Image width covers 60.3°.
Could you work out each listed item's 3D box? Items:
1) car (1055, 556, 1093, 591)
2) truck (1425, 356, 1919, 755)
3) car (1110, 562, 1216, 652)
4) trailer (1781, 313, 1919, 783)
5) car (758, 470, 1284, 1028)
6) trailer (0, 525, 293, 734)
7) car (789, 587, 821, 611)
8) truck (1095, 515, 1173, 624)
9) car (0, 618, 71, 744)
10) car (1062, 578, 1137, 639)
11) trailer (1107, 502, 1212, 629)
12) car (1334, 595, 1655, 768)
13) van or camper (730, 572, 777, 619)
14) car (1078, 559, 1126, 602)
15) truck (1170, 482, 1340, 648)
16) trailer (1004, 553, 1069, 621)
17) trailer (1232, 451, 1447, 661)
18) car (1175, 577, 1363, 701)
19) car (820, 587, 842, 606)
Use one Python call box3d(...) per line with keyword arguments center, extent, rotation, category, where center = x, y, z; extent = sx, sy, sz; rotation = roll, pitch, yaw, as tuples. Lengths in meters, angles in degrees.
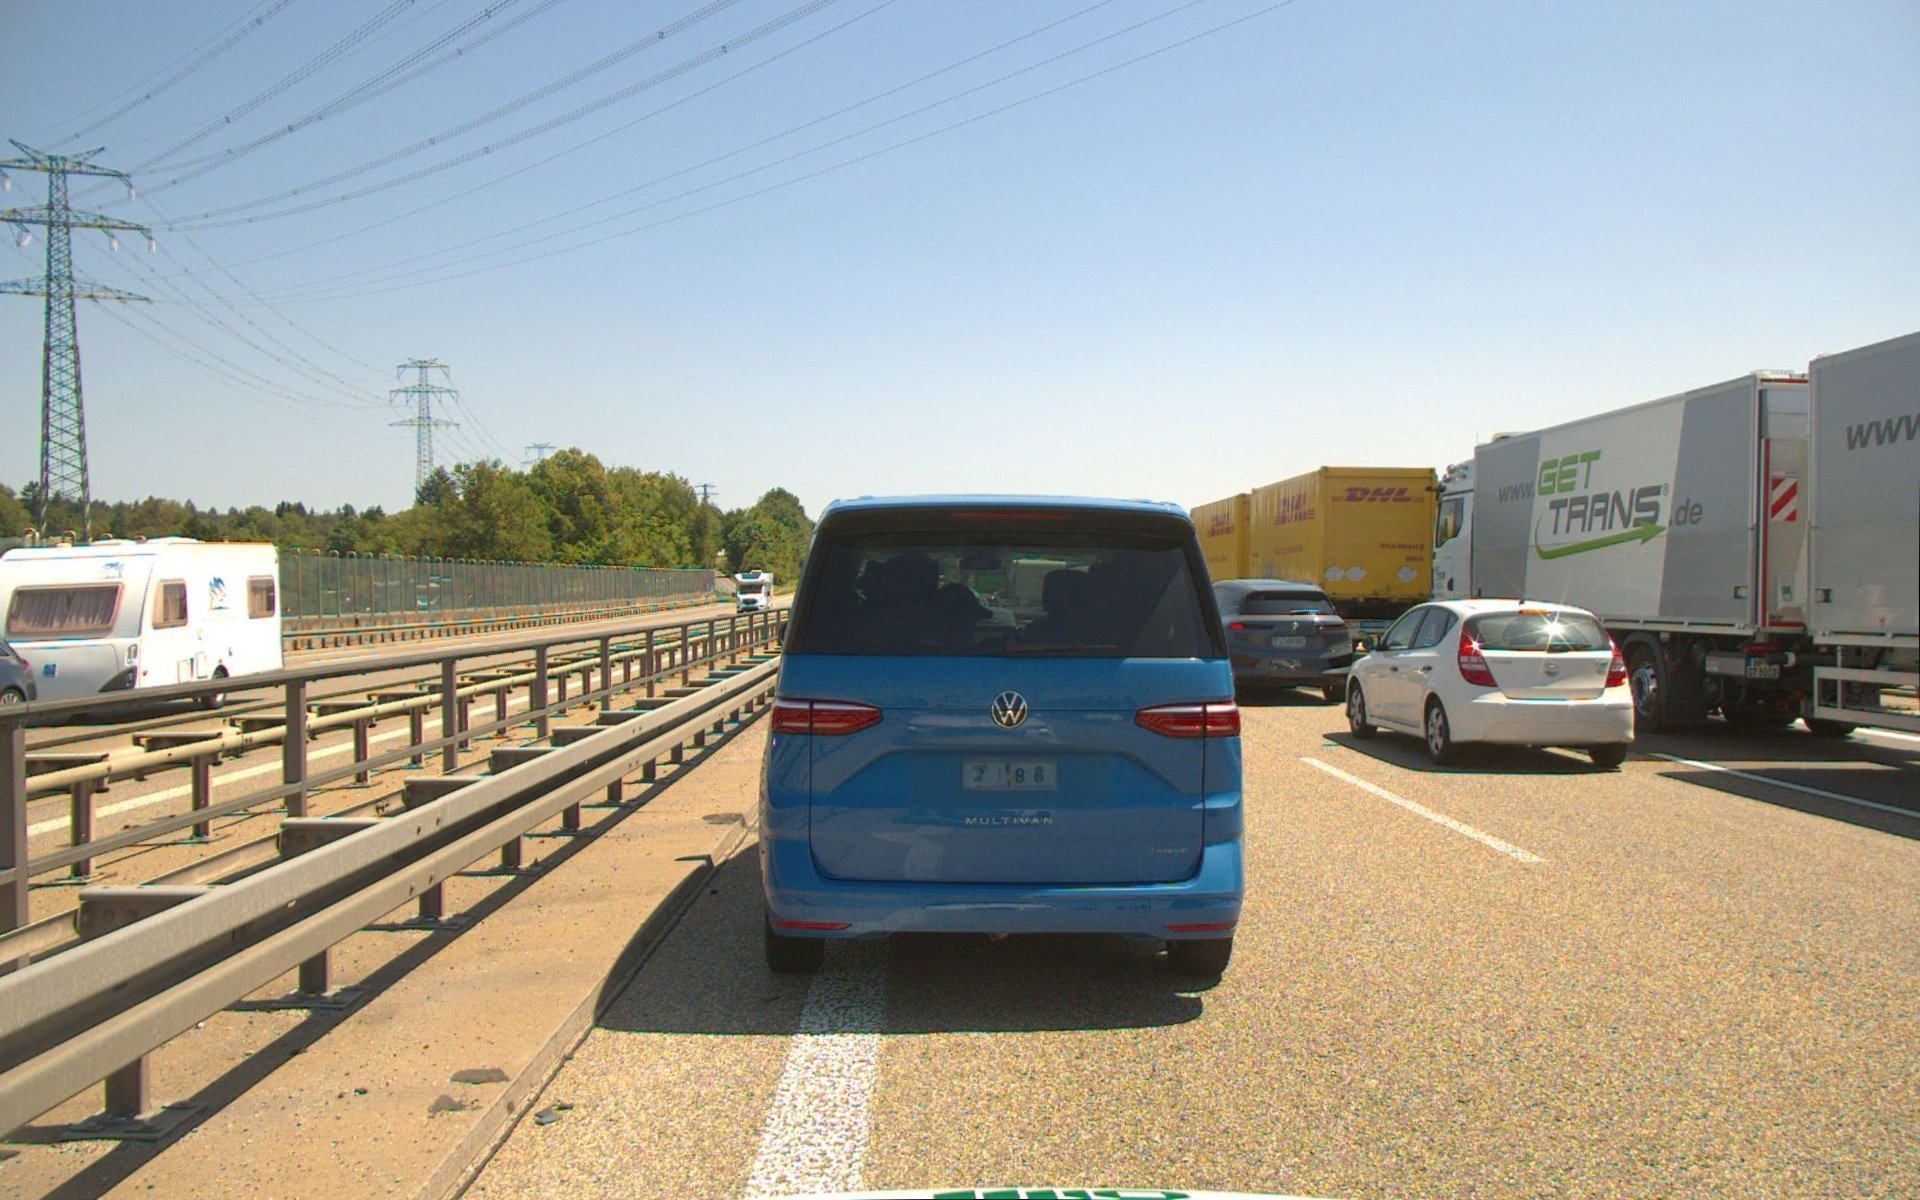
box3d(center=(6.881, -1.571, 100.059), extent=(1.953, 2.049, 4.460), rotation=(-1, 0, -1), category="car")
box3d(center=(8.855, -0.453, 20.958), extent=(2.603, 3.711, 11.008), rotation=(0, 0, -1), category="truck")
box3d(center=(4.743, 0.145, 39.230), extent=(1.922, 2.028, 4.292), rotation=(0, 0, -1), category="car")
box3d(center=(9.050, -0.406, 11.437), extent=(2.643, 3.765, 8.012), rotation=(0, 0, -1), category="trailer")
box3d(center=(0.188, 0.511, 7.718), extent=(1.783, 1.890, 4.074), rotation=(1, 0, -1), category="car")
box3d(center=(-12.341, 0.369, 24.164), extent=(2.442, 2.593, 6.773), rotation=(-2, 0, -1), category="trailer")
box3d(center=(-10.955, -0.100, 117.360), extent=(1.830, 1.558, 4.424), rotation=(-4, 0, -1), category="car")
box3d(center=(7.634, -1.301, 73.249), extent=(2.613, 4.562, 6.848), rotation=(1, 0, -1), category="truck")
box3d(center=(-12.007, 0.987, 18.380), extent=(1.739, 1.432, 4.681), rotation=(-2, 0, -1), category="car")
box3d(center=(4.342, 0.247, 51.907), extent=(1.953, 1.847, 3.999), rotation=(0, 0, -1), category="car")
box3d(center=(7.751, -1.286, 65.750), extent=(2.583, 4.595, 11.299), rotation=(1, 0, -1), category="trailer")
box3d(center=(5.114, 0.697, 16.466), extent=(1.752, 1.481, 4.292), rotation=(0, 0, -1), category="car")
box3d(center=(-14.480, -0.335, 116.345), extent=(2.373, 3.076, 7.025), rotation=(-2, 0, -1), category="van or camper")
box3d(center=(7.035, -0.939, 82.417), extent=(1.953, 2.049, 3.999), rotation=(1, 0, -1), category="car")
box3d(center=(8.442, -0.927, 48.903), extent=(2.778, 4.317, 11.007), rotation=(1, 0, -1), category="truck")
box3d(center=(3.631, -0.598, 80.796), extent=(2.517, 3.042, 10.661), rotation=(1, 0, -1), category="trailer")
box3d(center=(8.627, -0.915, 38.878), extent=(2.806, 4.313, 9.009), rotation=(1, 0, -1), category="trailer")
box3d(center=(4.470, 0.518, 24.544), extent=(1.922, 1.673, 4.292), rotation=(0, 0, -1), category="car")
box3d(center=(-12.294, -0.344, 157.620), extent=(1.829, 1.729, 4.429), rotation=(-2, 1, -2), category="car")
